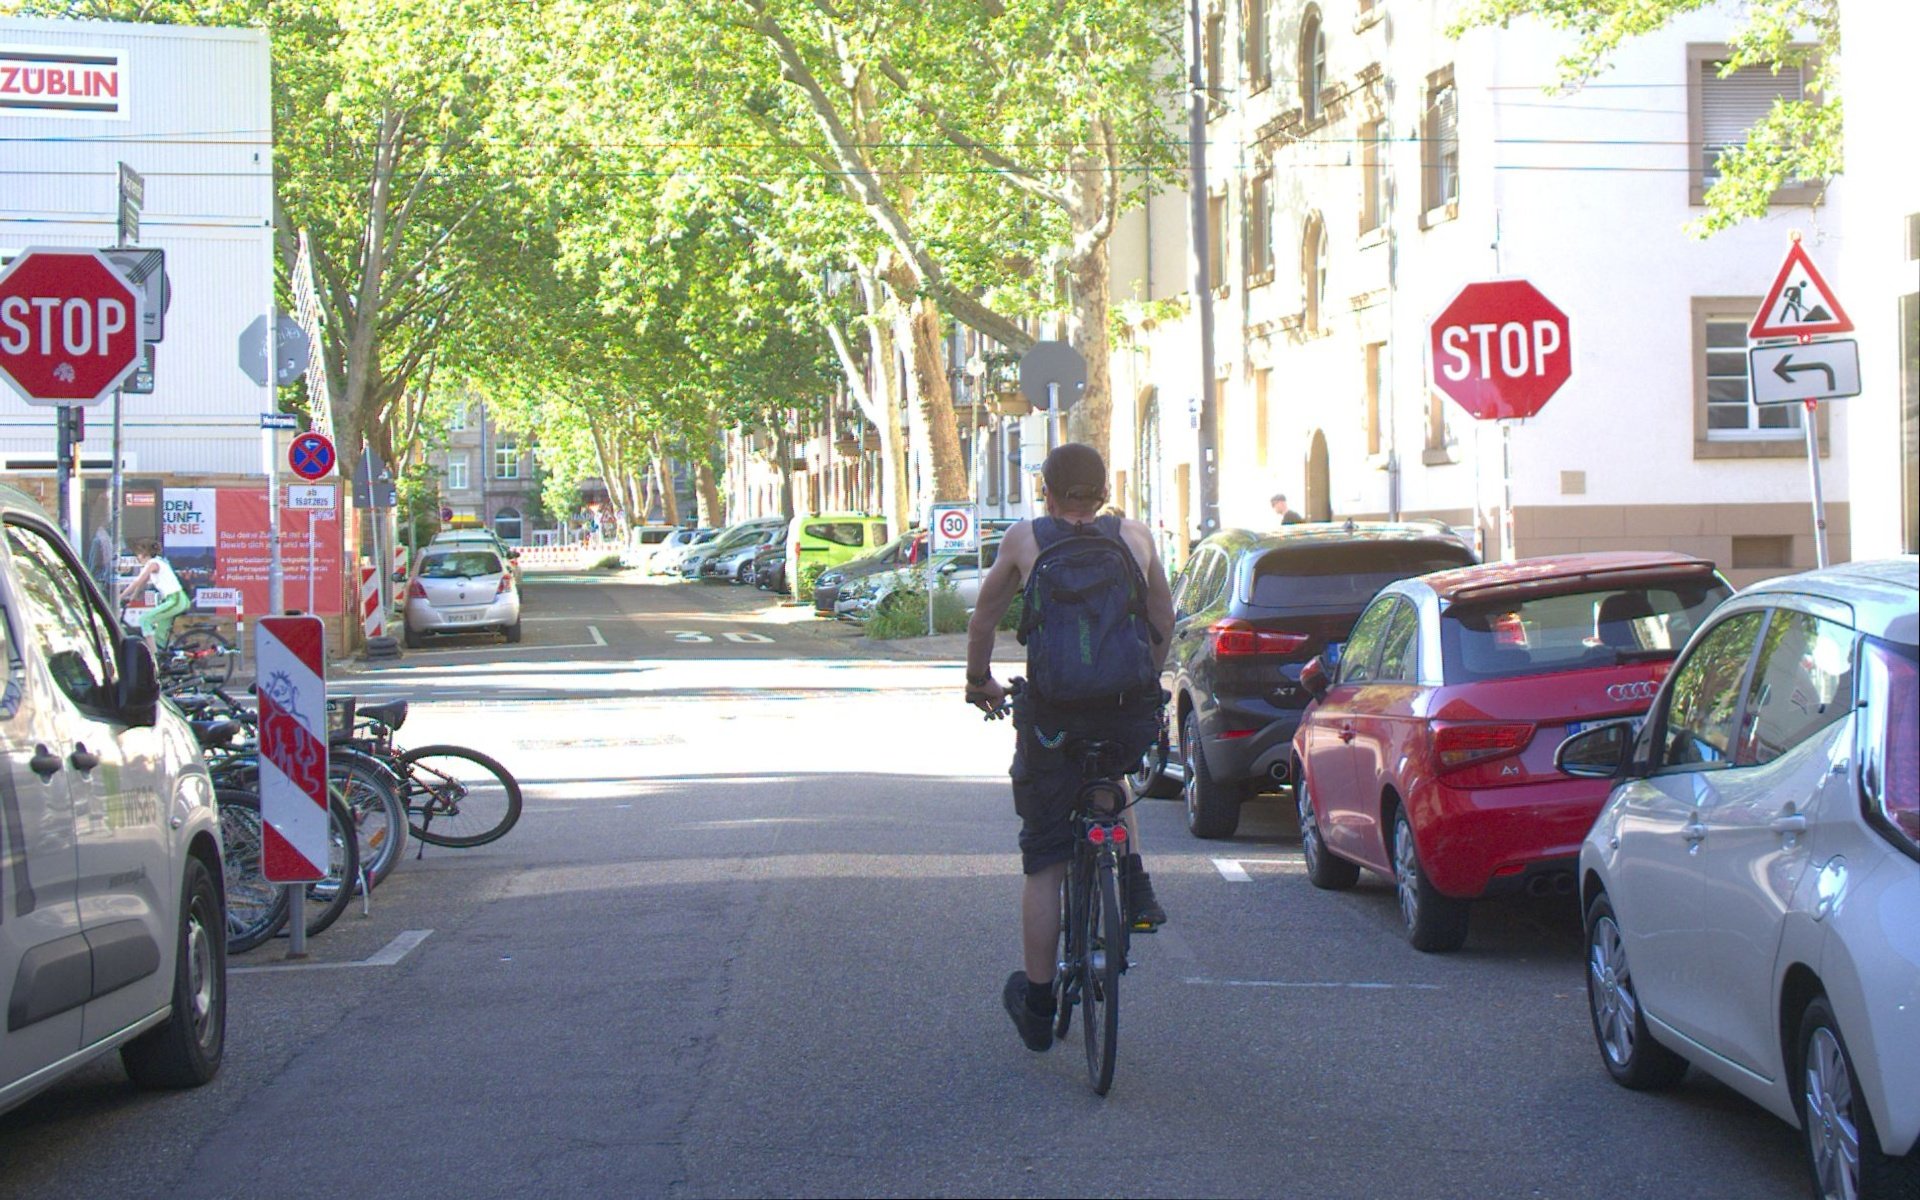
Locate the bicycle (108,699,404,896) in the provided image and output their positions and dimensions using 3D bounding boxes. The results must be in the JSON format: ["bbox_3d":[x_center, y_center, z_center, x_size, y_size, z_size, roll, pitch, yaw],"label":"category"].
[{"bbox_3d":[-3.302,0.921,16.175,1.308,0.815,0.382,-3,2,-10],"label":"bicycle"}]

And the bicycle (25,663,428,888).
[{"bbox_3d":[-3.341,0.794,15.750,1.764,0.958,0.428,-1,1,-8],"label":"bicycle"}]

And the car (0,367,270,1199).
[{"bbox_3d":[-2.983,0.462,8.253,1.679,1.903,4.519,-4,1,-1],"label":"car"}]

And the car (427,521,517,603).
[{"bbox_3d":[-9.729,-0.780,68.352,1.665,1.557,4.001,-1,1,-9],"label":"car"}]

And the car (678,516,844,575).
[{"bbox_3d":[-5.566,-1.532,95.957,4.460,1.565,1.729,-1,1,-8],"label":"car"}]

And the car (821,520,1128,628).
[{"bbox_3d":[0.200,-0.421,52.563,4.460,1.565,1.729,-1,1,-8],"label":"car"}]

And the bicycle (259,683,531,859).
[{"bbox_3d":[-2.800,0.839,17.050,1.308,0.815,0.355,-1,1,-10],"label":"bicycle"}]

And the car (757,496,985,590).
[{"bbox_3d":[-1.840,-1.175,70.415,4.460,1.830,1.729,-1,1,-9],"label":"car"}]

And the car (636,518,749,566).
[{"bbox_3d":[-10.929,-2.367,140.220,4.460,1.891,1.729,-1,1,-8],"label":"car"}]

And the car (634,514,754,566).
[{"bbox_3d":[-10.169,-2.303,131.363,4.460,1.891,1.729,-1,1,-8],"label":"car"}]

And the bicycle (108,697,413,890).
[{"bbox_3d":[-3.365,0.926,16.581,1.386,0.815,0.362,-3,2,-10],"label":"bicycle"}]

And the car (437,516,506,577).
[{"bbox_3d":[-12.901,-1.430,90.583,1.665,1.557,4.617,-1,1,-9],"label":"car"}]

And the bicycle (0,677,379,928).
[{"bbox_3d":[-3.265,0.812,13.869,1.764,0.958,0.405,-1,1,-2],"label":"bicycle"}]

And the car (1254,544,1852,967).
[{"bbox_3d":[2.323,0.537,14.459,1.645,1.498,3.955,1,1,-3],"label":"car"}]

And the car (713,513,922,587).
[{"bbox_3d":[-3.170,-1.123,76.253,4.460,1.565,1.729,-1,1,-8],"label":"car"}]

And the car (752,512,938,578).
[{"bbox_3d":[-2.883,-1.383,85.768,4.460,1.565,1.729,-1,1,-8],"label":"car"}]

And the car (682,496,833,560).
[{"bbox_3d":[-6.226,-2.217,105.583,4.460,1.891,1.729,-1,1,-8],"label":"car"}]

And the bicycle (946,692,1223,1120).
[{"bbox_3d":[0.319,0.821,9.881,0.689,1.013,1.907,1,1,-1],"label":"bicycle"}]

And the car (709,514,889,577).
[{"bbox_3d":[-4.176,-1.416,88.832,4.460,1.565,1.729,-1,1,-8],"label":"car"}]

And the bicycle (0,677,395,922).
[{"bbox_3d":[-3.270,0.824,14.289,1.764,0.958,0.422,-1,1,-2],"label":"bicycle"}]

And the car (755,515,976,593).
[{"bbox_3d":[-2.017,-0.983,72.430,4.460,1.565,1.729,-1,1,-8],"label":"car"}]

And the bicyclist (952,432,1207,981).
[{"bbox_3d":[0.328,0.288,9.826,0.676,1.508,0.669,1,1,-1],"label":"bicyclist"}]

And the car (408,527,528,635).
[{"bbox_3d":[-7.482,-0.321,52.079,1.643,1.489,4.001,-3,2,-9],"label":"car"}]

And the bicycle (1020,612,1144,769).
[{"bbox_3d":[0.848,0.599,23.527,0.552,1.013,1.627,0,1,13],"label":"bicycle"}]

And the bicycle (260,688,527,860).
[{"bbox_3d":[-2.871,0.875,17.424,1.308,0.815,0.371,-1,1,-10],"label":"bicycle"}]

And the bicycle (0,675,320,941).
[{"bbox_3d":[-3.430,0.808,13.419,1.764,0.985,0.463,-1,1,-2],"label":"bicycle"}]

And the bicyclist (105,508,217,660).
[{"bbox_3d":[-8.795,-0.175,37.892,1.096,1.634,0.896,-1,0,-7],"label":"bicyclist"}]

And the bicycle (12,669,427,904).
[{"bbox_3d":[-3.290,0.817,15.318,1.764,0.958,0.481,-1,1,-13],"label":"bicycle"}]

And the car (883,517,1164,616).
[{"bbox_3d":[1.048,-0.582,57.537,4.460,1.565,1.729,-1,1,-8],"label":"car"}]

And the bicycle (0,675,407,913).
[{"bbox_3d":[-3.286,0.821,14.706,1.764,0.958,0.443,-1,1,-2],"label":"bicycle"}]

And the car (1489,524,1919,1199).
[{"bbox_3d":[2.540,0.611,8.700,1.636,1.581,3.789,1,1,-3],"label":"car"}]

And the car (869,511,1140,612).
[{"bbox_3d":[0.758,-0.691,59.603,4.460,1.665,1.729,-1,1,-8],"label":"car"}]

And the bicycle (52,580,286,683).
[{"bbox_3d":[-8.701,0.342,37.902,2.422,1.089,0.896,-1,0,-7],"label":"bicycle"}]

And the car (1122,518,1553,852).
[{"bbox_3d":[1.996,0.383,19.350,1.760,1.656,4.198,1,1,-3],"label":"car"}]

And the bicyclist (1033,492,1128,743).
[{"bbox_3d":[0.822,0.111,23.371,0.542,1.682,0.653,0,0,12],"label":"bicyclist"}]

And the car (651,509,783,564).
[{"bbox_3d":[-8.565,-2.238,120.994,4.460,1.891,1.729,-1,1,-8],"label":"car"}]
